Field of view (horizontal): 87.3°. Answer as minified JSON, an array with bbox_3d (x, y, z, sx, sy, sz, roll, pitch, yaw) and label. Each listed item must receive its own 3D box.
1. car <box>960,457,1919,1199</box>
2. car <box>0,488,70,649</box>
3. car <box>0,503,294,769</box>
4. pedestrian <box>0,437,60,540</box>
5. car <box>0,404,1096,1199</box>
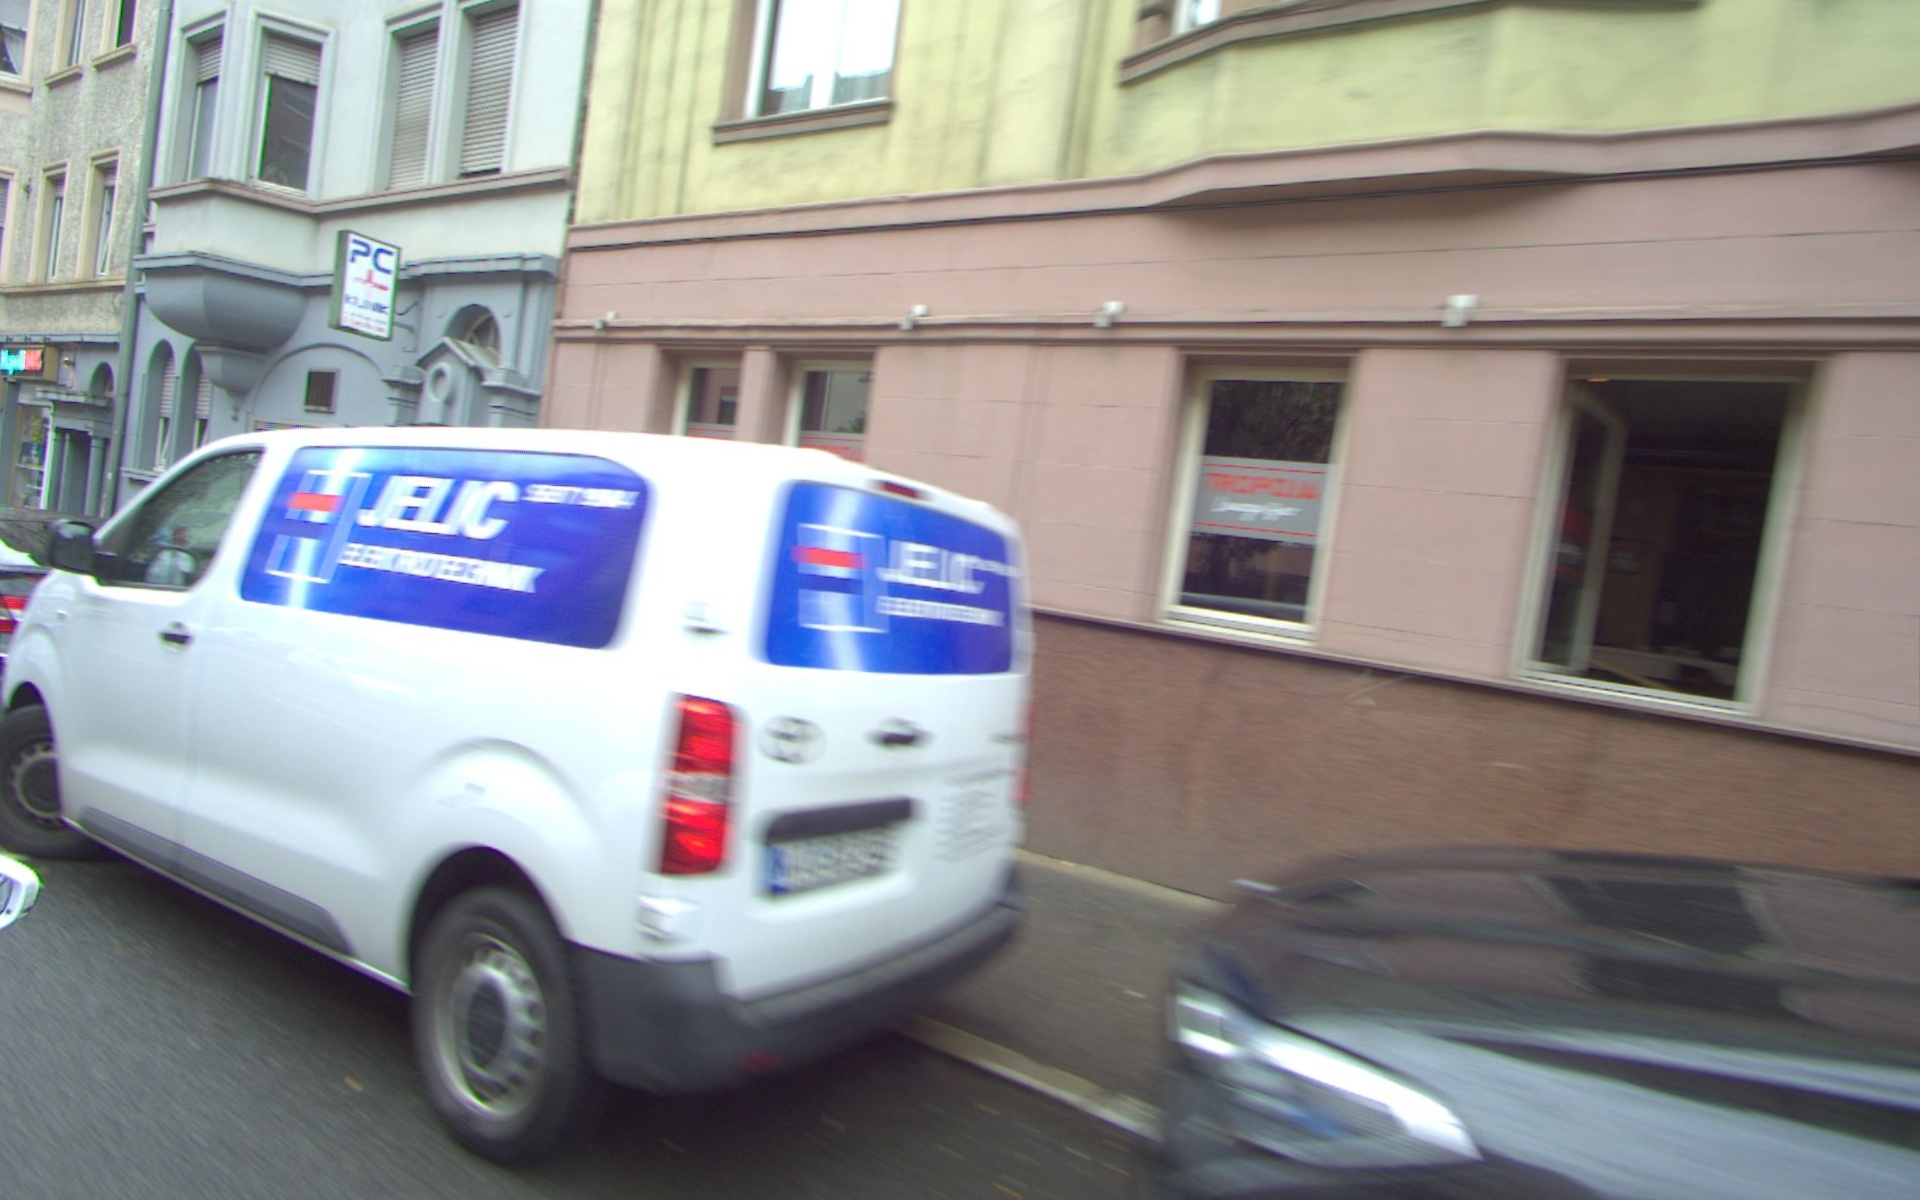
[{"bbox_3d":[2.460,0.961,1.217,4.599,1.752,1.882,7,-1,32],"label":"car"},{"bbox_3d":[-11.262,-0.585,9.986,4.690,1.485,1.880,7,-1,26],"label":"car"},{"bbox_3d":[-6.632,0.048,6.975,4.205,1.392,1.680,7,-1,32],"label":"car"},{"bbox_3d":[-15.904,-1.882,17.112,0.655,1.641,0.485,6,2,2],"label":"pedestrian"},{"bbox_3d":[-2.170,0.321,4.178,4.926,1.851,1.920,7,2,32],"label":"car"}]
